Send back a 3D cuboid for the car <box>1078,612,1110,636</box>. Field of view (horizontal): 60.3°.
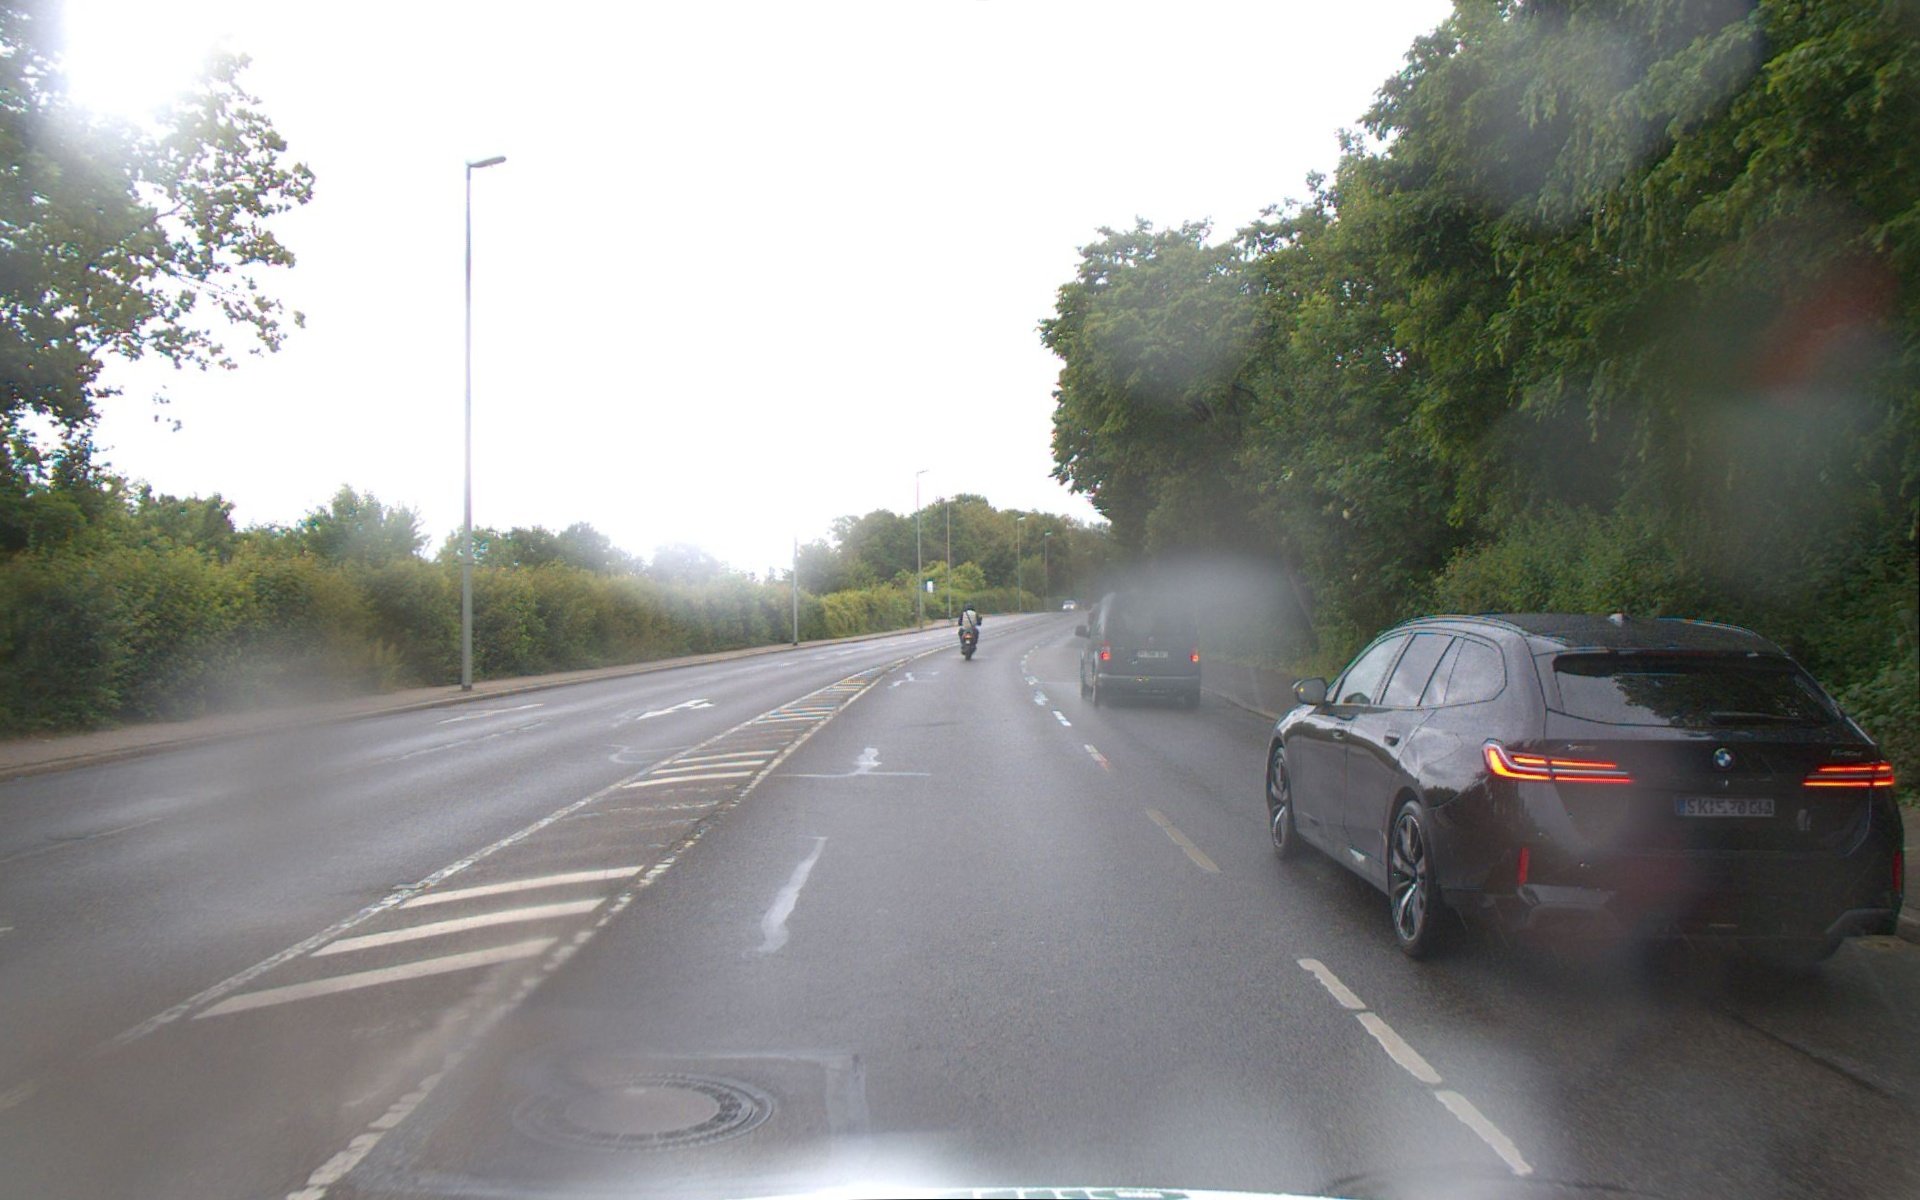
[{"bbox_3d":[9.093,1.622,112.205,1.972,1.440,4.490,1,1,7],"label":"car"}]

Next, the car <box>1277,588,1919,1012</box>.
[{"bbox_3d":[2.842,0.783,8.118,1.729,1.563,3.671,2,-1,-2],"label":"car"}]

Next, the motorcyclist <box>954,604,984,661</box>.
[{"bbox_3d":[0.269,0.948,48.950,0.827,1.676,0.468,0,1,5],"label":"motorcyclist"}]

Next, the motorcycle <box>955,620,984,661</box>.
[{"bbox_3d":[0.278,1.202,48.993,0.725,1.139,1.427,1,1,5],"label":"motorcycle"}]

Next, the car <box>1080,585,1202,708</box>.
[{"bbox_3d":[2.967,0.707,27.745,1.730,1.841,3.907,1,1,2],"label":"car"}]
